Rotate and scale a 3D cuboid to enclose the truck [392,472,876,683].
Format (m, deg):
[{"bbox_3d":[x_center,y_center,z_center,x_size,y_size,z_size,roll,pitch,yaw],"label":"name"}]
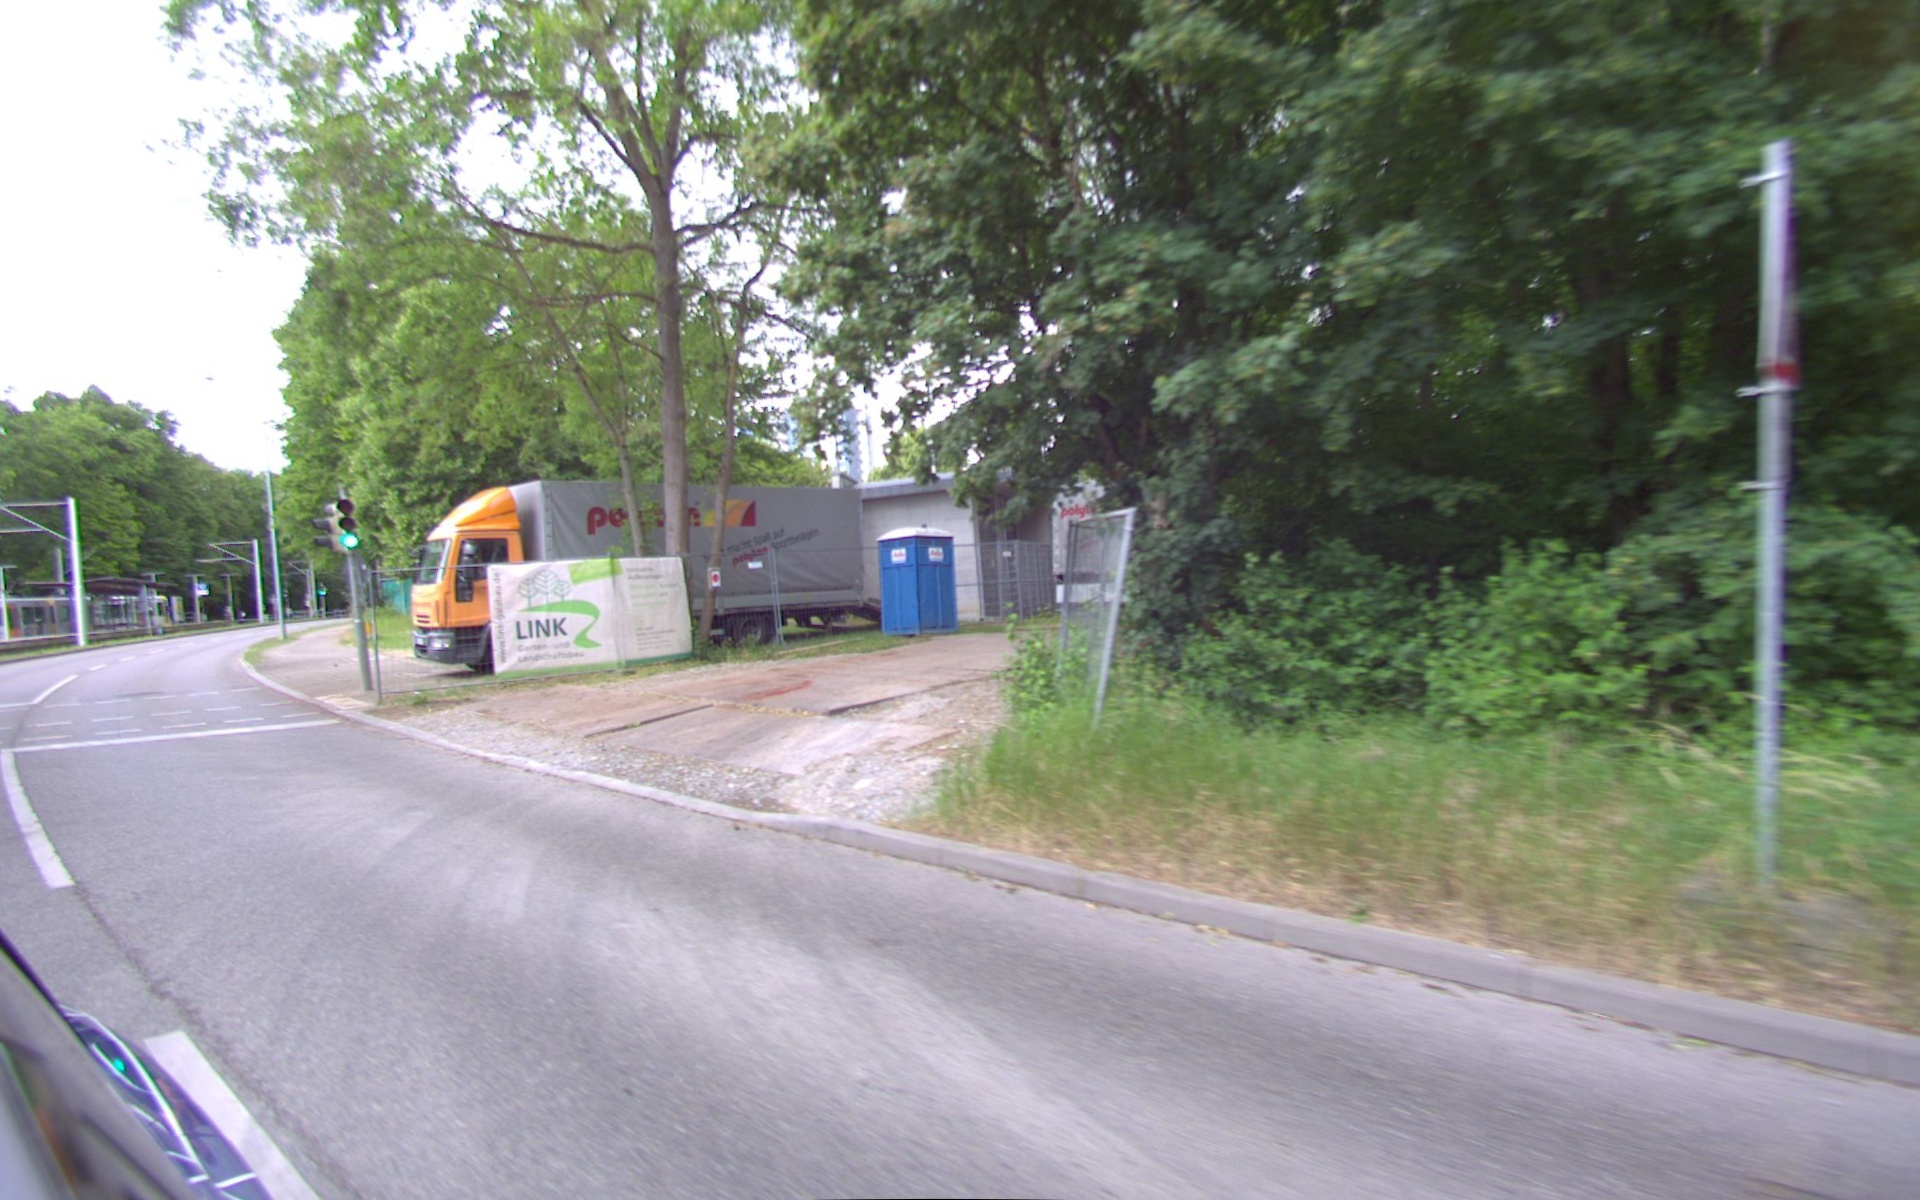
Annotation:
[{"bbox_3d":[-6.281,-0.692,21.011,9.118,3.557,2.569,-5,3,-40],"label":"truck"}]

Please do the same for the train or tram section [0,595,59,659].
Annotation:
[{"bbox_3d":[-58.262,1.748,58.328,2.775,3.826,18.995,-6,2,-21],"label":"train or tram section"}]

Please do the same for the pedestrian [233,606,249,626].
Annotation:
[{"bbox_3d":[-65.632,1.477,92.339,0.970,1.770,0.732,-6,1,-28],"label":"pedestrian"}]

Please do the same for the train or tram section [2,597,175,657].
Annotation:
[{"bbox_3d":[-64.796,1.761,76.156,2.775,3.763,18.591,-6,2,-19],"label":"train or tram section"}]

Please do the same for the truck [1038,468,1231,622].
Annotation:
[{"bbox_3d":[4.474,-1.305,25.005,2.446,3.223,5.851,-4,0,33],"label":"truck"}]
